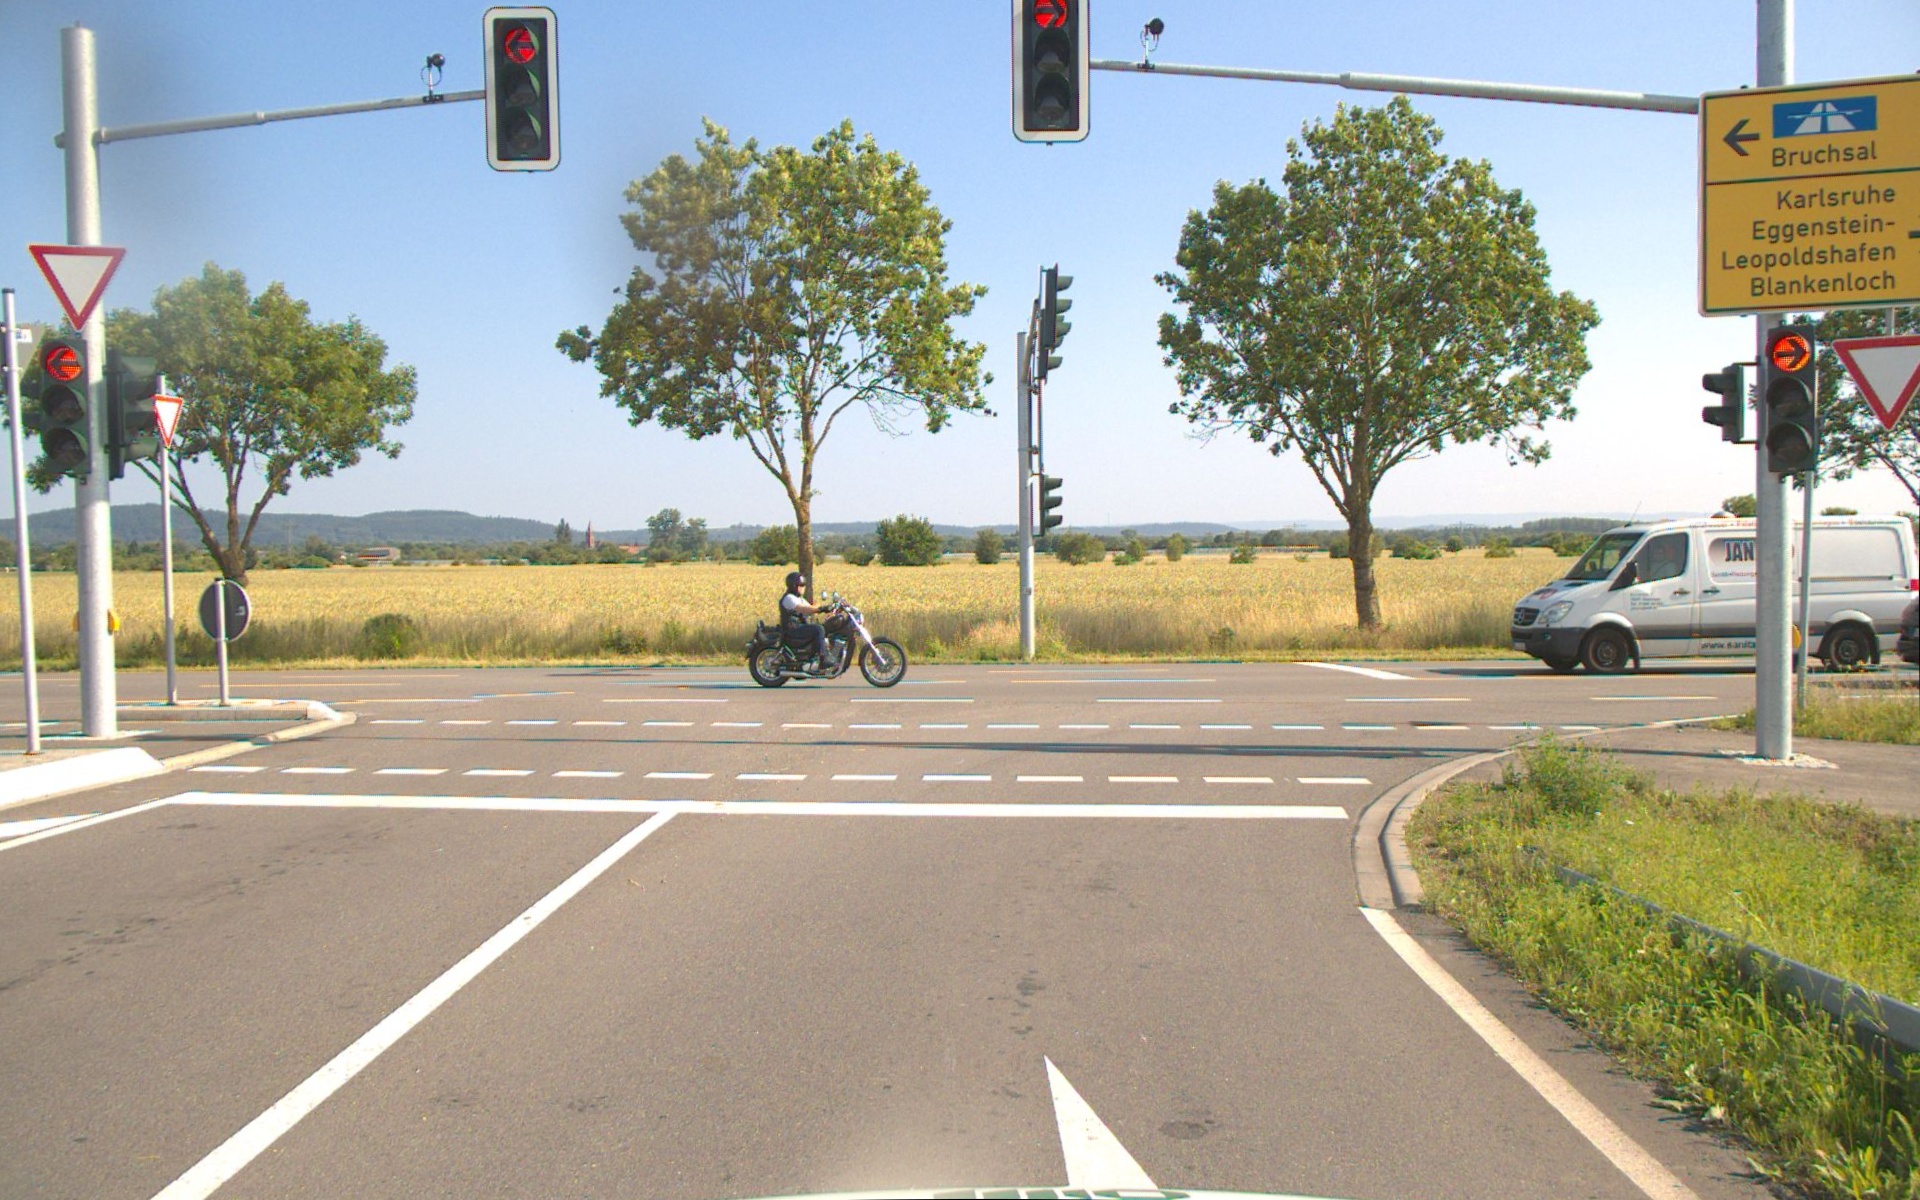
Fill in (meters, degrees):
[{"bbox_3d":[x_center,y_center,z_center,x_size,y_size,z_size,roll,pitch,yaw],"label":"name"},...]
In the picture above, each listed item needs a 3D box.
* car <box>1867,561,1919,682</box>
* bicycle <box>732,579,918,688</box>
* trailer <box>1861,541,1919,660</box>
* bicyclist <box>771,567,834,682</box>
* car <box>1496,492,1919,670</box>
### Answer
[{"bbox_3d":[14.591,0.242,21.524,4.579,1.545,1.921,-1,1,-3],"label":"car"},{"bbox_3d":[-1.821,0.448,22.402,2.442,1.421,0.731,1,0,-5],"label":"bicycle"},{"bbox_3d":[16.951,-0.041,25.447,5.154,1.783,1.953,-1,1,-1],"label":"trailer"},{"bbox_3d":[-2.099,0.321,22.172,0.792,1.515,0.757,1,0,-3],"label":"bicyclist"},{"bbox_3d":[11.455,-0.274,25.310,5.836,2.536,2.000,1,0,-1],"label":"car"}]
